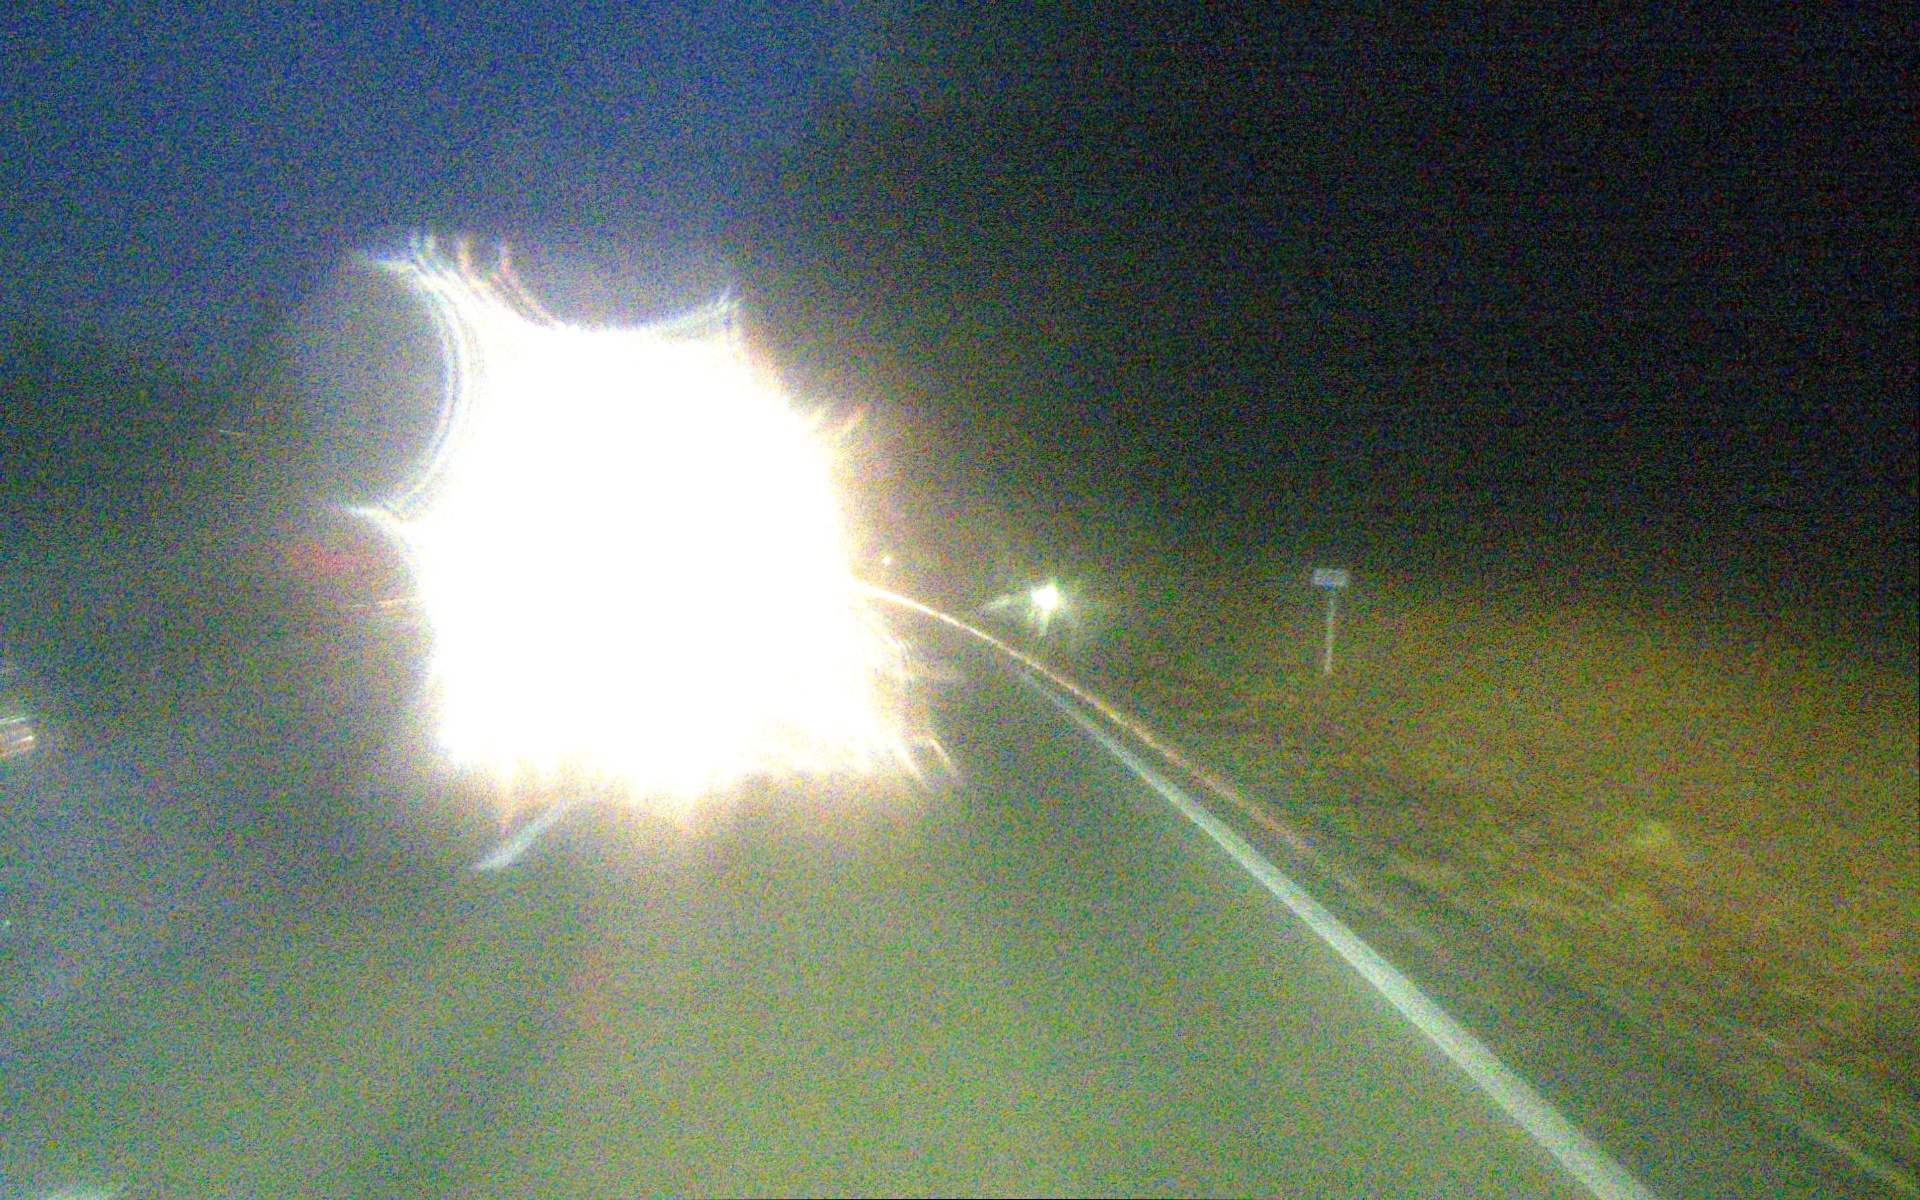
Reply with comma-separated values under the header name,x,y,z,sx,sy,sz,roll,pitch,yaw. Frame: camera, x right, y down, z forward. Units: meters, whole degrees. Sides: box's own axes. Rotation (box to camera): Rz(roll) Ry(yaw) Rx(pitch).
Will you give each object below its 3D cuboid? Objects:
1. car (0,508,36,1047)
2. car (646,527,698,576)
name,x,y,z,sx,sy,sz,roll,pitch,yaw
car,-3.621,0.538,8.358,1.817,1.550,3.872,-1,1,-2
car,-10.232,-1.713,122.386,1.771,1.669,4.055,1,1,-4
